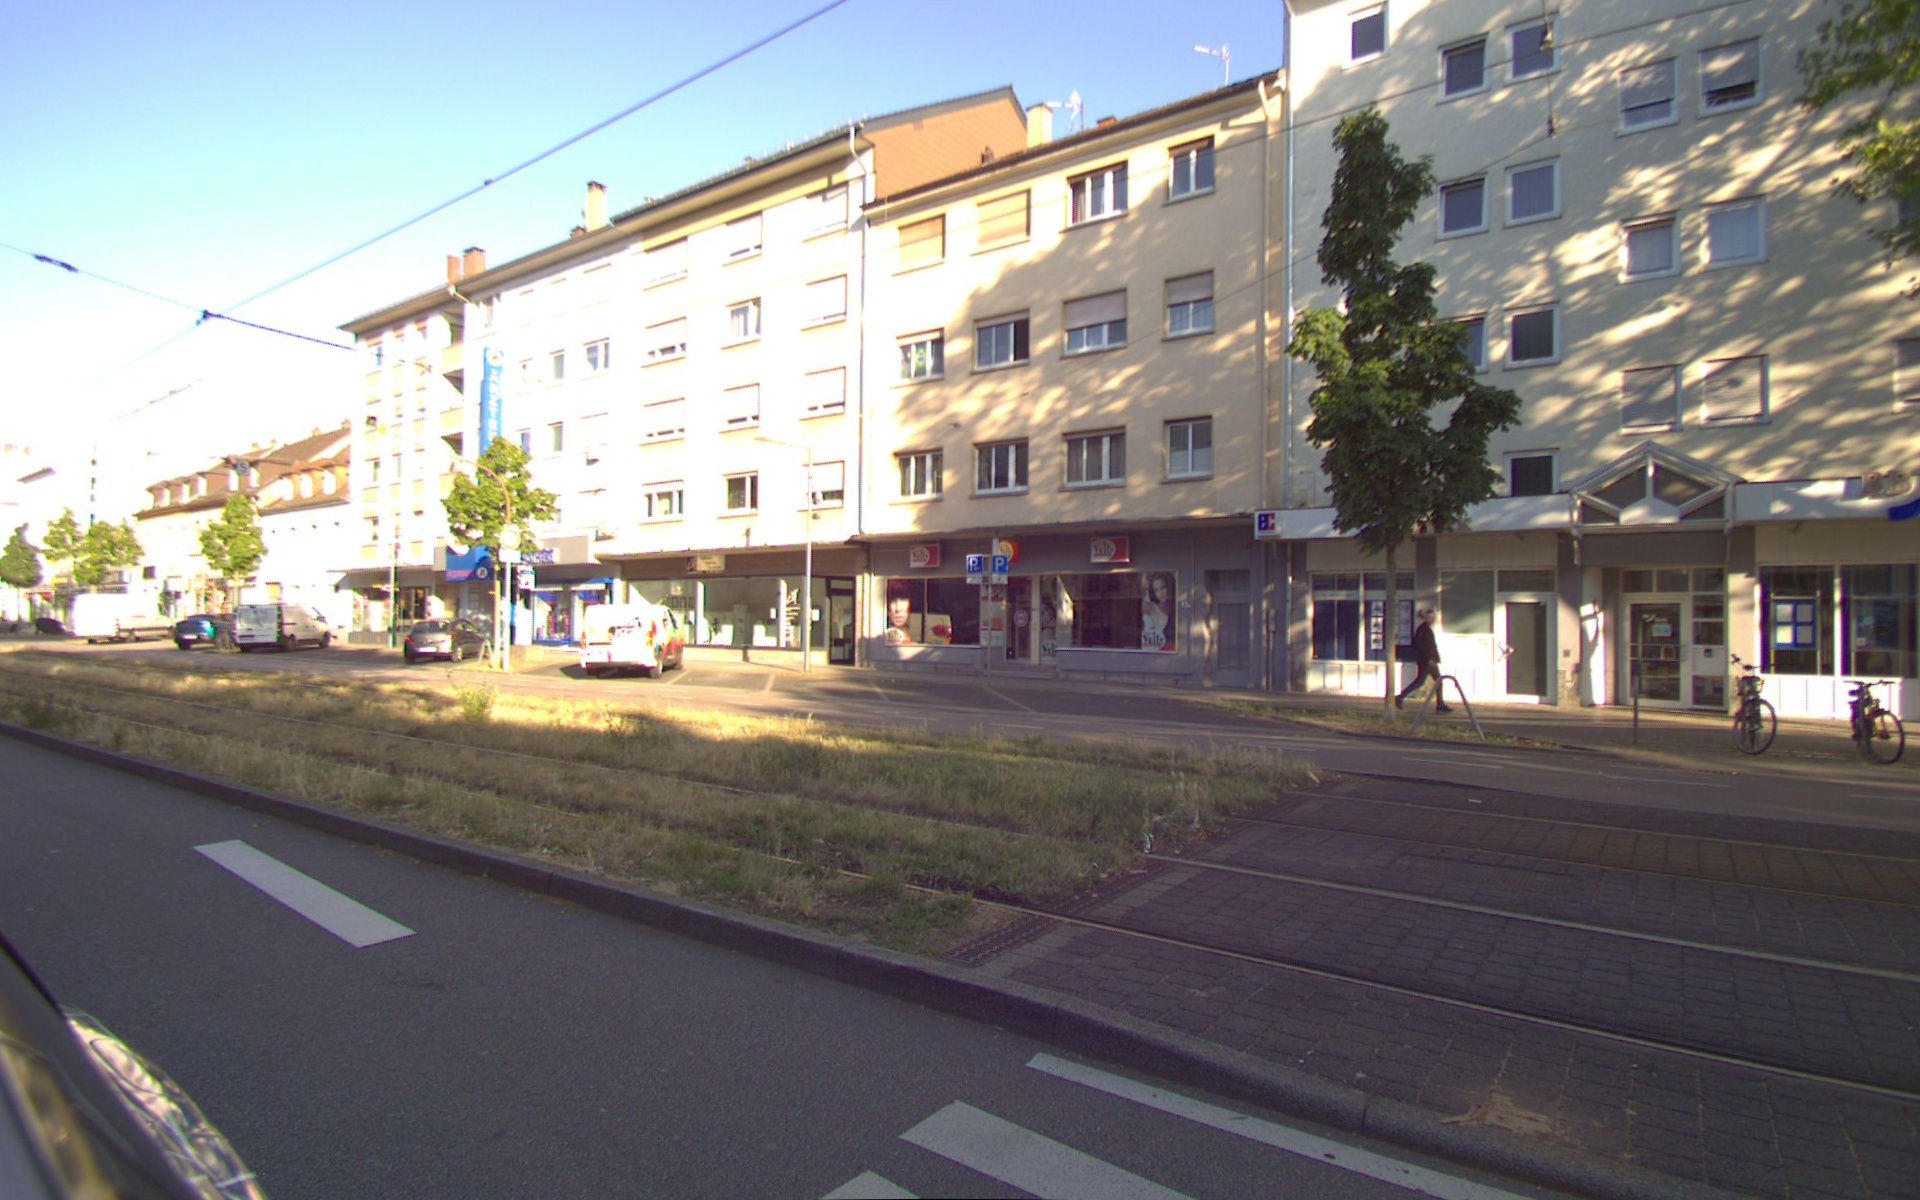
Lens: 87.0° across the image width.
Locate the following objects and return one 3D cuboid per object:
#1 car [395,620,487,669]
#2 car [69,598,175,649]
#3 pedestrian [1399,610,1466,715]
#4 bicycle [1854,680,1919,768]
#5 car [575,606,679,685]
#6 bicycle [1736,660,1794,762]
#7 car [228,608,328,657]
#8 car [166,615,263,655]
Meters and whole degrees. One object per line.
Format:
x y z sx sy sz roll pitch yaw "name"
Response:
-17.555 1.458 34.417 1.708 1.508 4.009 0 0 -10 "car"
-45.414 1.218 55.052 1.895 2.634 6.608 0 0 -16 "car"
8.559 1.103 18.342 0.916 1.841 0.747 -1 -1 41 "pedestrian"
11.334 1.481 12.357 0.471 0.895 1.724 -1 -1 36 "bicycle"
-8.824 1.148 27.146 1.830 1.913 4.005 0 0 -6 "car"
10.300 1.380 12.979 0.511 1.147 1.724 -1 -1 36 "bicycle"
-28.641 1.305 42.690 1.828 1.952 4.514 0 0 -10 "car"
-34.169 1.558 46.529 1.830 1.727 3.919 0 0 -4 "car"
